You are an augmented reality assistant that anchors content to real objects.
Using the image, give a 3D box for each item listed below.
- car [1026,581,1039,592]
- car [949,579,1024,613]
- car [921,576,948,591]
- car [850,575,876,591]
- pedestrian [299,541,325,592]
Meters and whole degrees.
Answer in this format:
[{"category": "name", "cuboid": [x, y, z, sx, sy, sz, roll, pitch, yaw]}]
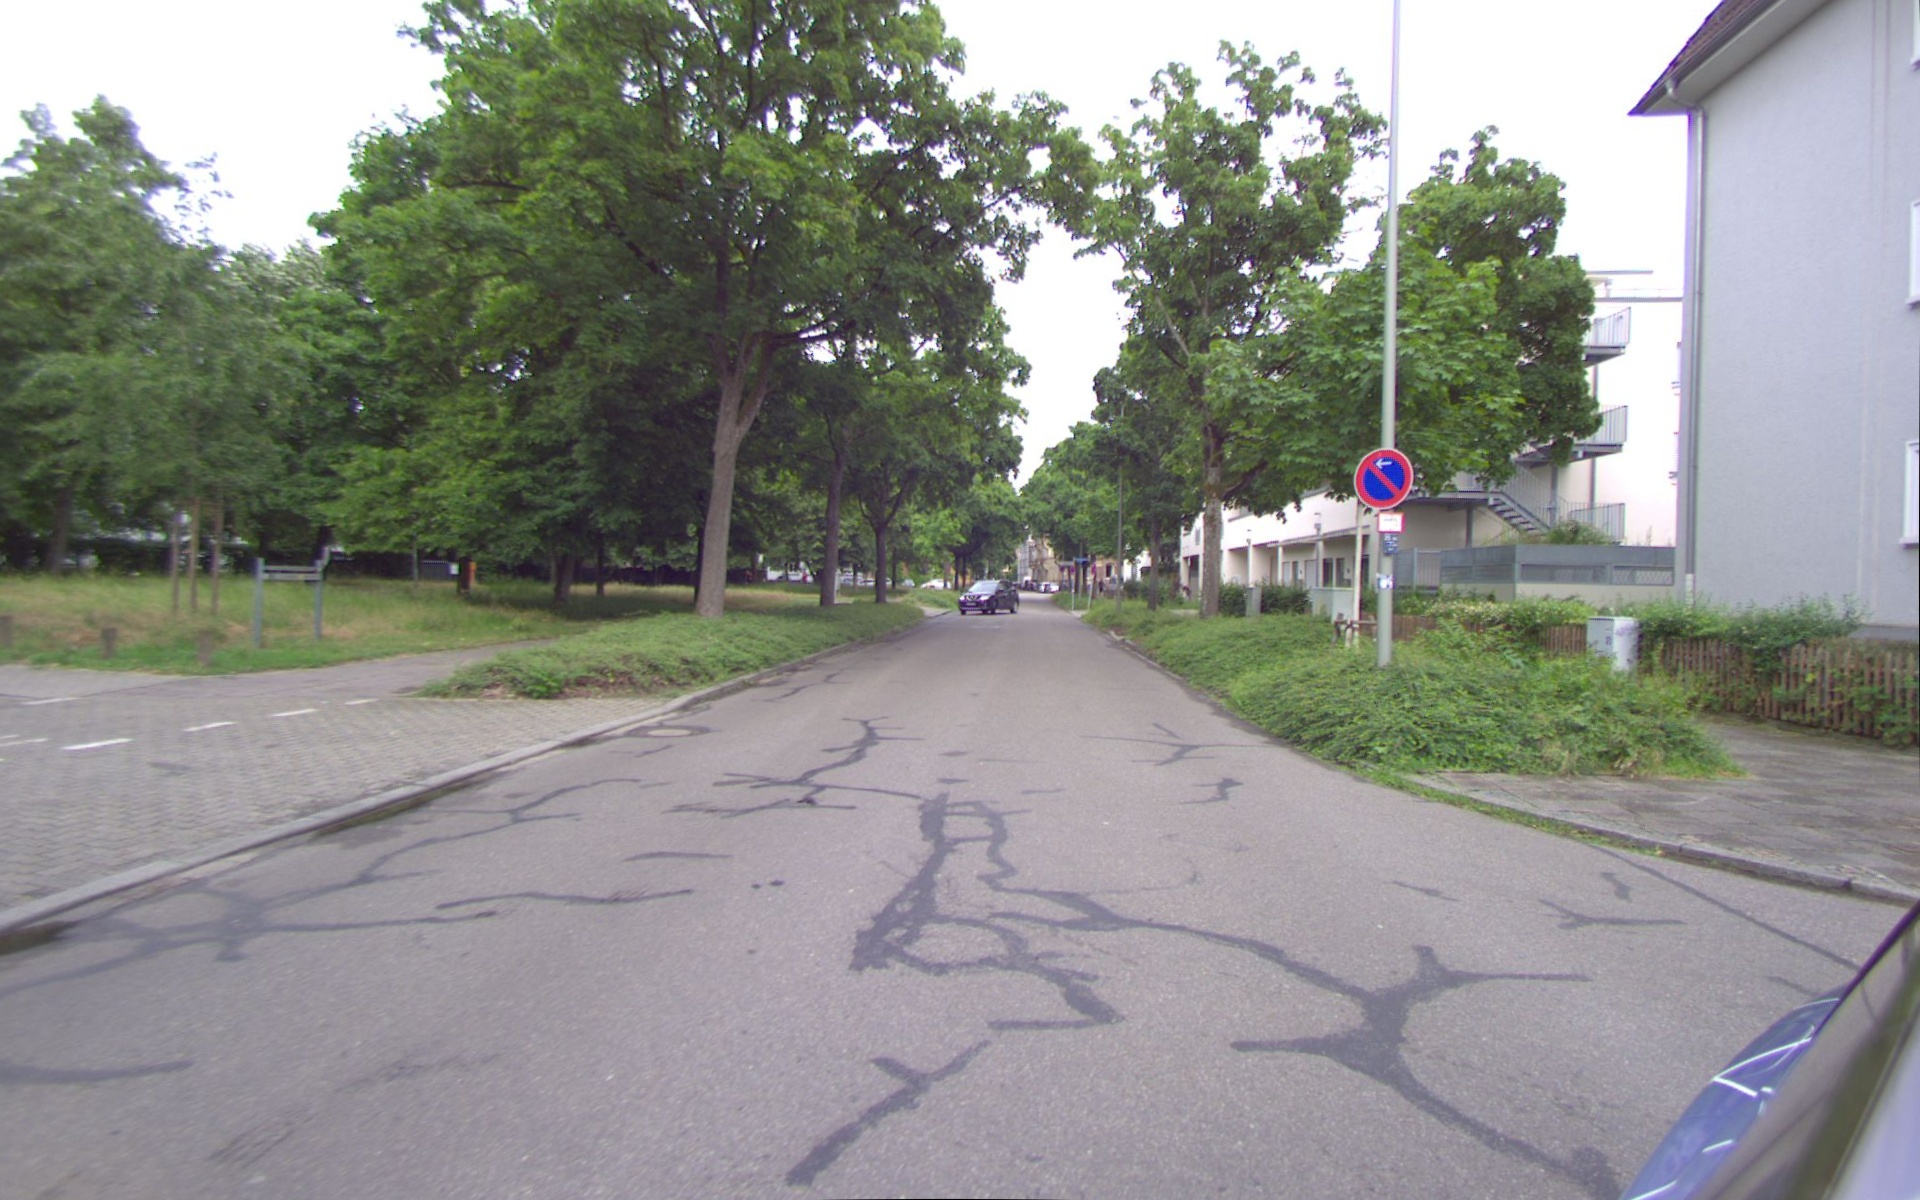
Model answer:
[{"category": "car", "cuboid": [11.960, -2.255, 166.780, 1.751, 1.786, 3.664, 2, 1, -2]}, {"category": "car", "cuboid": [1.329, -0.228, 49.183, 1.980, 1.504, 4.500, 3, 1, 25]}, {"category": "car", "cuboid": [-3.223, -2.057, 126.967, 3.248, 1.948, 1.812, 0, 0, -4]}, {"category": "car", "cuboid": [-12.114, -2.087, 126.820, 3.248, 1.948, 1.812, 0, 0, -4]}, {"category": "pedestrian", "cuboid": [-23.402, -1.219, 36.560, 0.536, 1.820, 0.570, 2, 1, 17]}]
